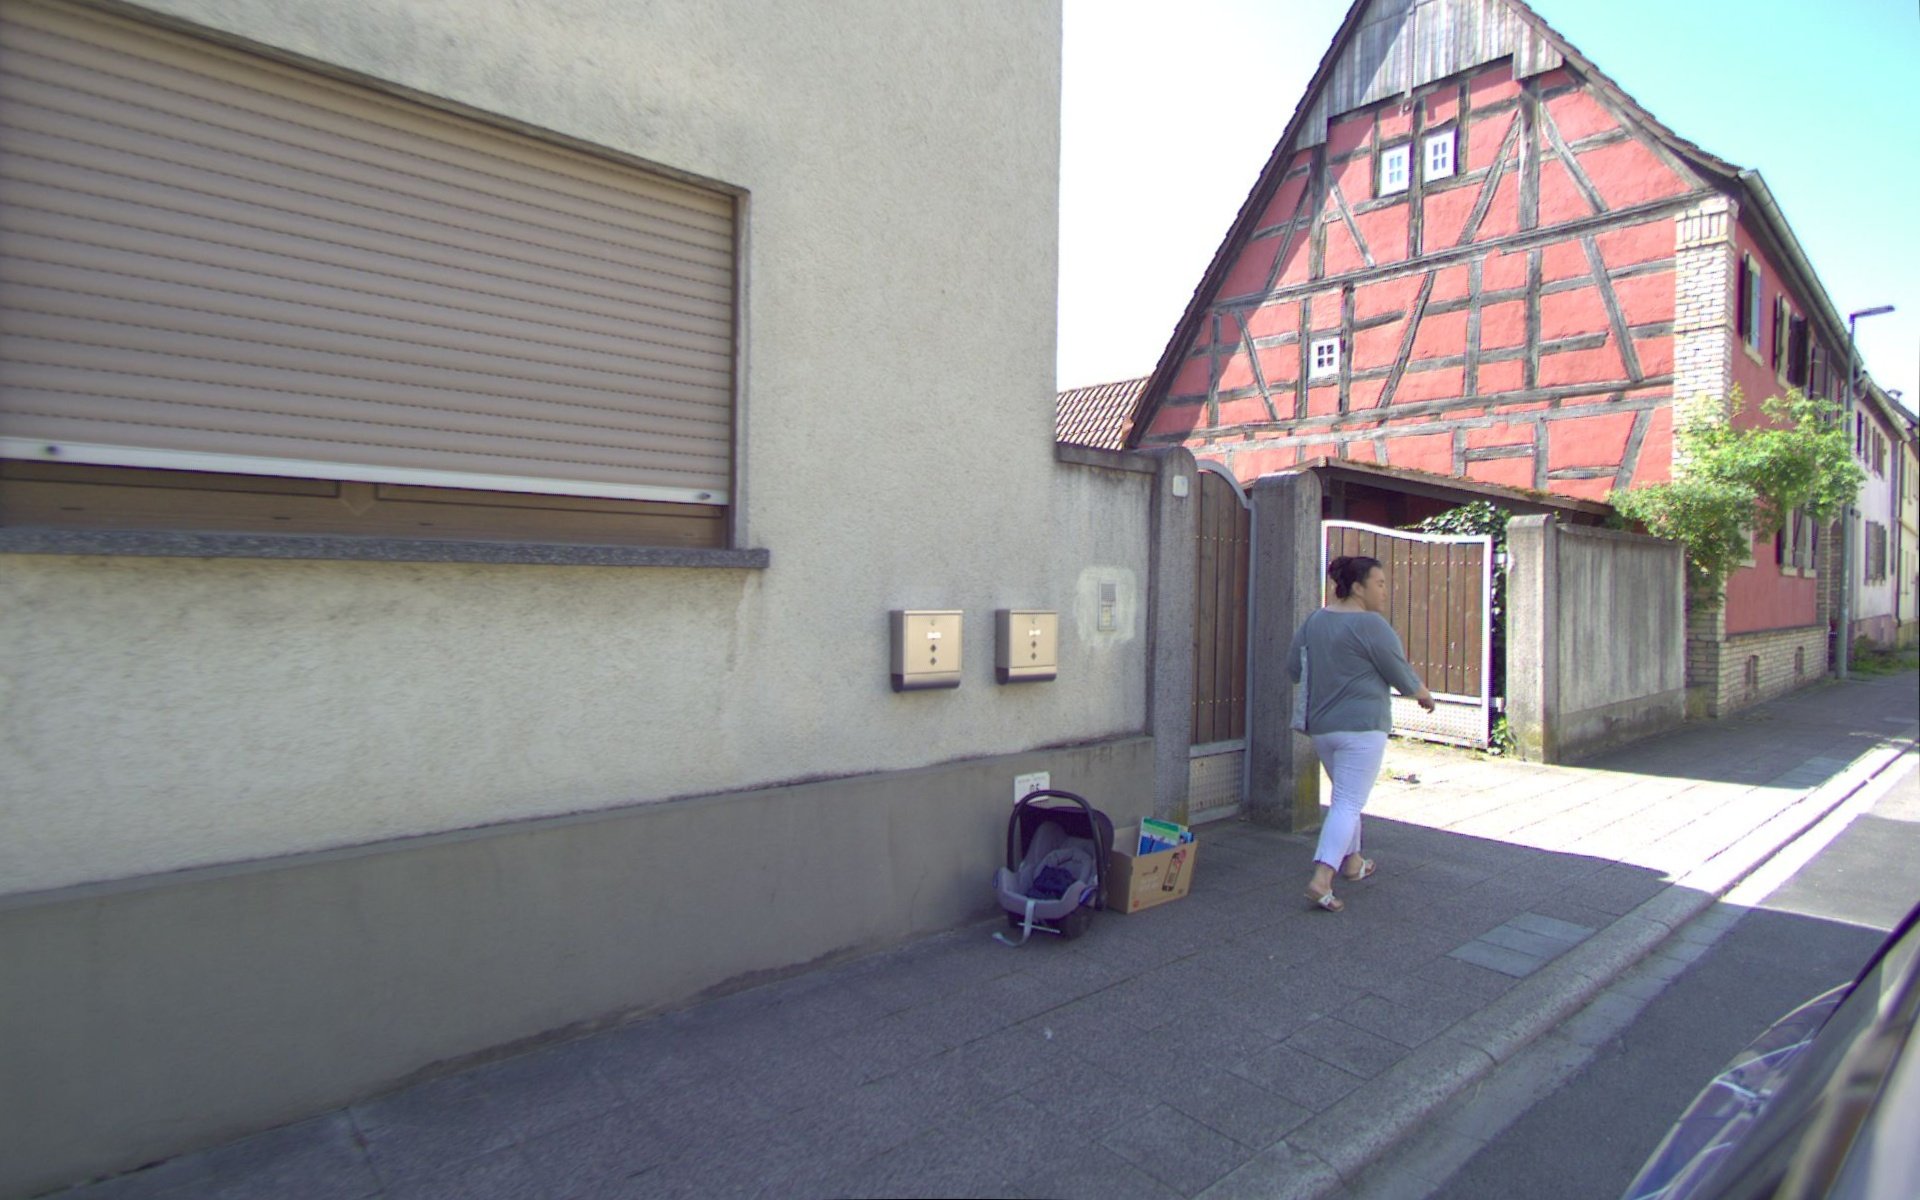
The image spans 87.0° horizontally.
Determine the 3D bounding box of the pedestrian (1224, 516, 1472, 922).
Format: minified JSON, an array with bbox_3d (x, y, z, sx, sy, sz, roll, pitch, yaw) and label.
[{"bbox_3d":[1.818,0.490,4.753,0.876,1.685,0.721,0,0,-37],"label":"pedestrian"}]
